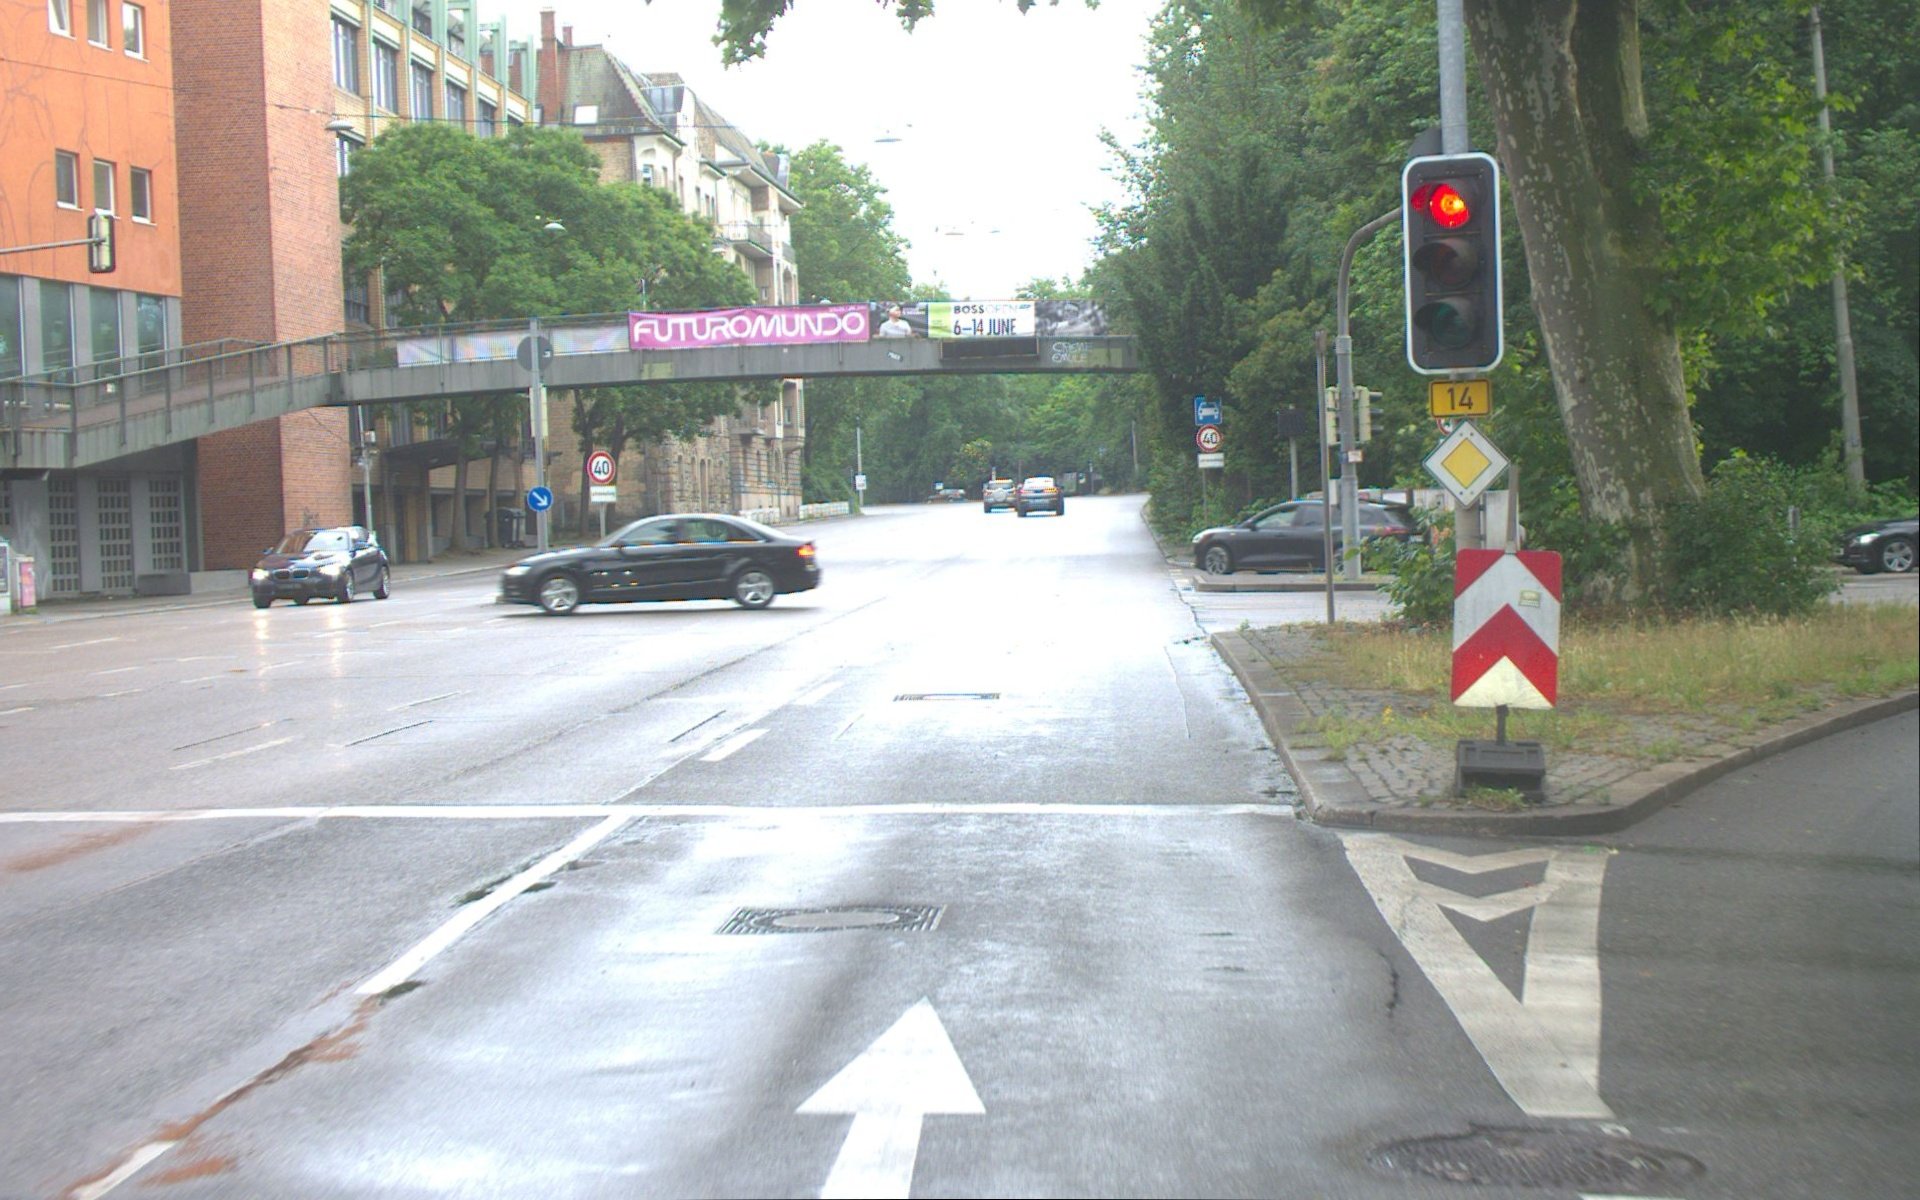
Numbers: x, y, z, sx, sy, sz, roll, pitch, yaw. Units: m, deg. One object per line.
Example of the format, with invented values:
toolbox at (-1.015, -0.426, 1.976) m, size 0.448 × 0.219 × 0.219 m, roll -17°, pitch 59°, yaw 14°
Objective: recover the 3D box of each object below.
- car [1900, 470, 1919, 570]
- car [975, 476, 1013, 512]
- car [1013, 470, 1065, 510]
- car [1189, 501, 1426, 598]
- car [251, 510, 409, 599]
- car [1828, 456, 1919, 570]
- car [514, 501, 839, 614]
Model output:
car at (16.303, -1.240, 51.329) m, size 3.986 × 1.481 × 1.879 m, roll -2°, pitch 1°, yaw -18°
car at (1.752, -5.383, 174.272) m, size 1.763 × 1.691 × 3.706 m, roll -3°, pitch 1°, yaw 2°
car at (3.518, -4.949, 153.704) m, size 2.120 × 1.729 × 4.199 m, roll 0°, pitch 3°, yaw -1°
car at (6.154, -0.931, 61.370) m, size 1.875 × 1.632 × 4.526 m, roll -2°, pitch 2°, yaw -30°
car at (-11.539, -0.866, 63.220) m, size 1.993 × 1.514 × 4.000 m, roll -2°, pitch 1°, yaw 2°
car at (17.065, -1.560, 57.560) m, size 4.338 × 1.829 × 2.136 m, roll -4°, pitch 1°, yaw -9°
car at (-4.136, -0.628, 50.202) m, size 4.602 × 1.446 × 1.774 m, roll -2°, pitch 1°, yaw -5°
